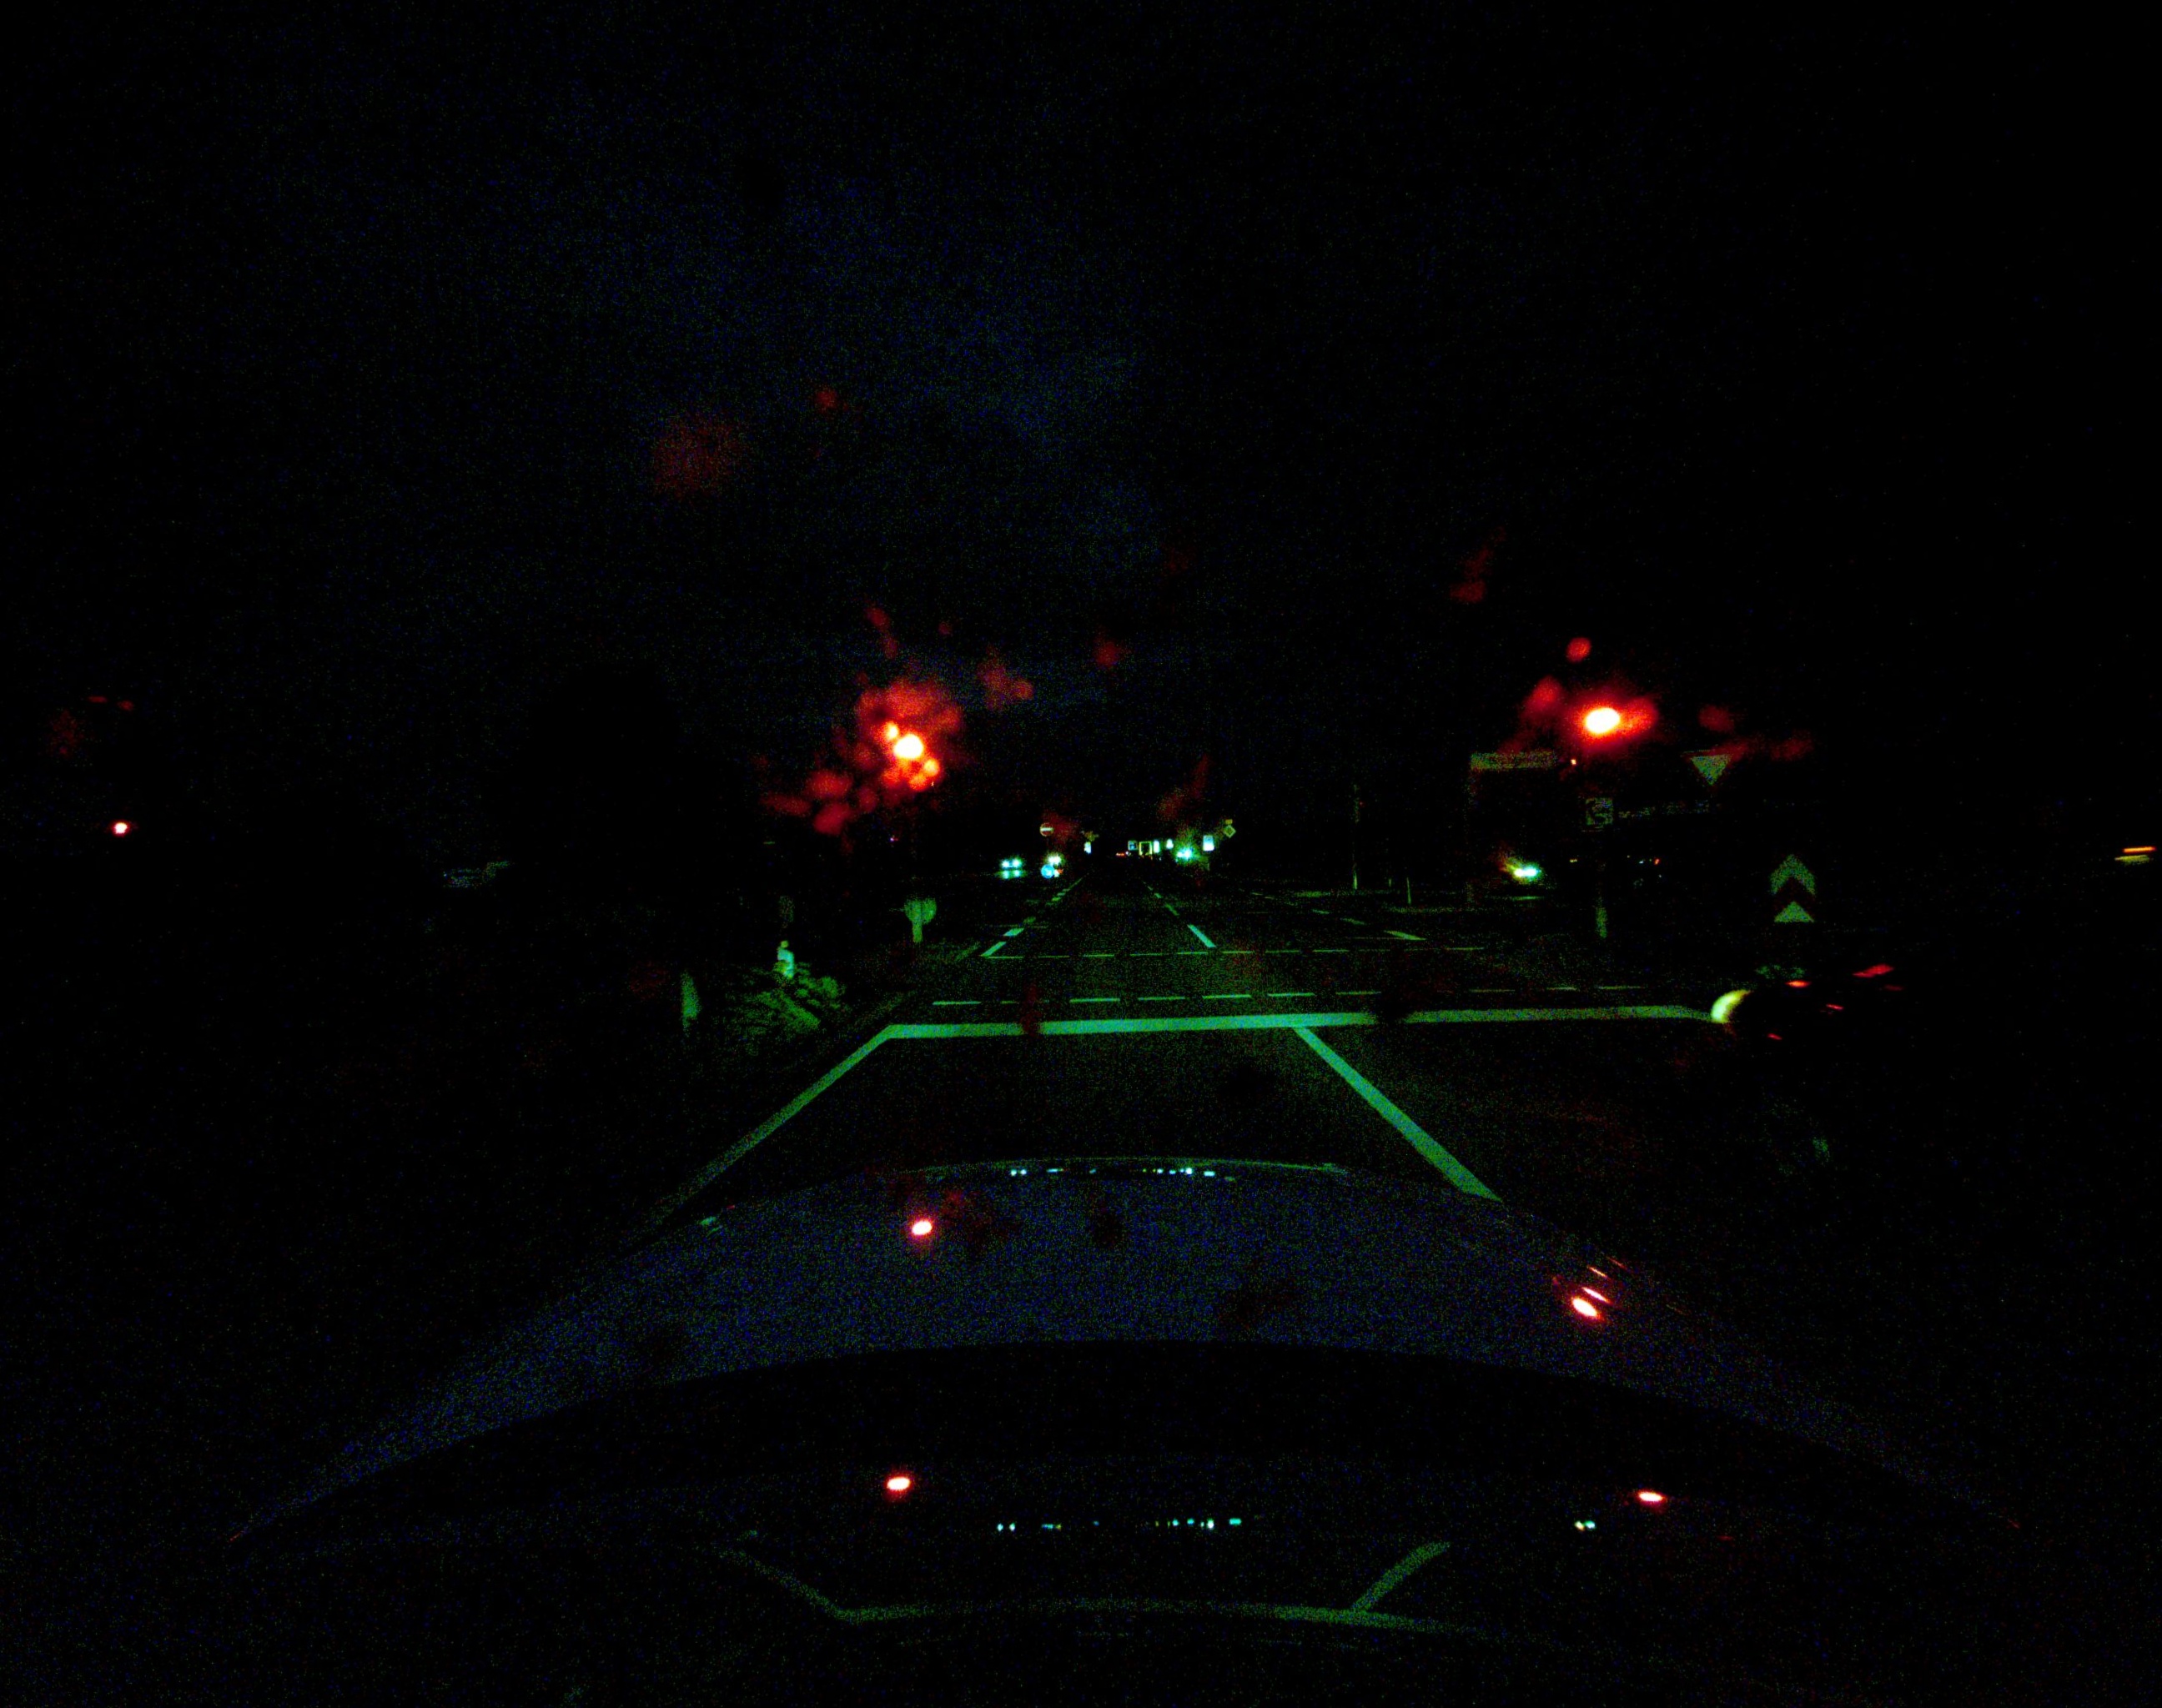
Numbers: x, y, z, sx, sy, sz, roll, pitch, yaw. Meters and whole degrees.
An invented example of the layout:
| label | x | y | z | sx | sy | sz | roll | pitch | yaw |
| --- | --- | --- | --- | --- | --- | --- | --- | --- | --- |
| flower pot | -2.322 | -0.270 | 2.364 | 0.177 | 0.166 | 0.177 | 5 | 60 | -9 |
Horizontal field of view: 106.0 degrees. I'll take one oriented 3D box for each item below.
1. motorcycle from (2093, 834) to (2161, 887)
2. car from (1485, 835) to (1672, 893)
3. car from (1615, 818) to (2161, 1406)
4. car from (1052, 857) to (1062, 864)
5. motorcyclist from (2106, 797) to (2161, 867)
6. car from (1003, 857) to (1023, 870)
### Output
| label | x | y | z | sx | sy | sz | roll | pitch | yaw |
| --- | --- | --- | --- | --- | --- | --- | --- | --- | --- |
| motorcycle | 24.745 | 0.121 | 18.661 | 2.504 | 1.098 | 0.977 | -3 | 0 | -14 |
| car | 15.450 | 0.291 | 25.513 | 4.583 | 1.520 | 2.001 | -3 | 0 | 2 |
| car | 3.628 | 0.652 | 2.339 | 1.663 | 1.520 | 4.109 | -1 | 0 | 3 |
| car | -5.271 | 1.417 | 181.680 | 1.986 | 1.387 | 4.002 | -2 | 0 | 2 |
| motorcyclist | 24.680 | -0.512 | 18.676 | 0.971 | 1.584 | 1.135 | -3 | 0 | -13 |
| car | -8.670 | 1.201 | 103.711 | 1.986 | 1.519 | 4.299 | -2 | 0 | 2 |
